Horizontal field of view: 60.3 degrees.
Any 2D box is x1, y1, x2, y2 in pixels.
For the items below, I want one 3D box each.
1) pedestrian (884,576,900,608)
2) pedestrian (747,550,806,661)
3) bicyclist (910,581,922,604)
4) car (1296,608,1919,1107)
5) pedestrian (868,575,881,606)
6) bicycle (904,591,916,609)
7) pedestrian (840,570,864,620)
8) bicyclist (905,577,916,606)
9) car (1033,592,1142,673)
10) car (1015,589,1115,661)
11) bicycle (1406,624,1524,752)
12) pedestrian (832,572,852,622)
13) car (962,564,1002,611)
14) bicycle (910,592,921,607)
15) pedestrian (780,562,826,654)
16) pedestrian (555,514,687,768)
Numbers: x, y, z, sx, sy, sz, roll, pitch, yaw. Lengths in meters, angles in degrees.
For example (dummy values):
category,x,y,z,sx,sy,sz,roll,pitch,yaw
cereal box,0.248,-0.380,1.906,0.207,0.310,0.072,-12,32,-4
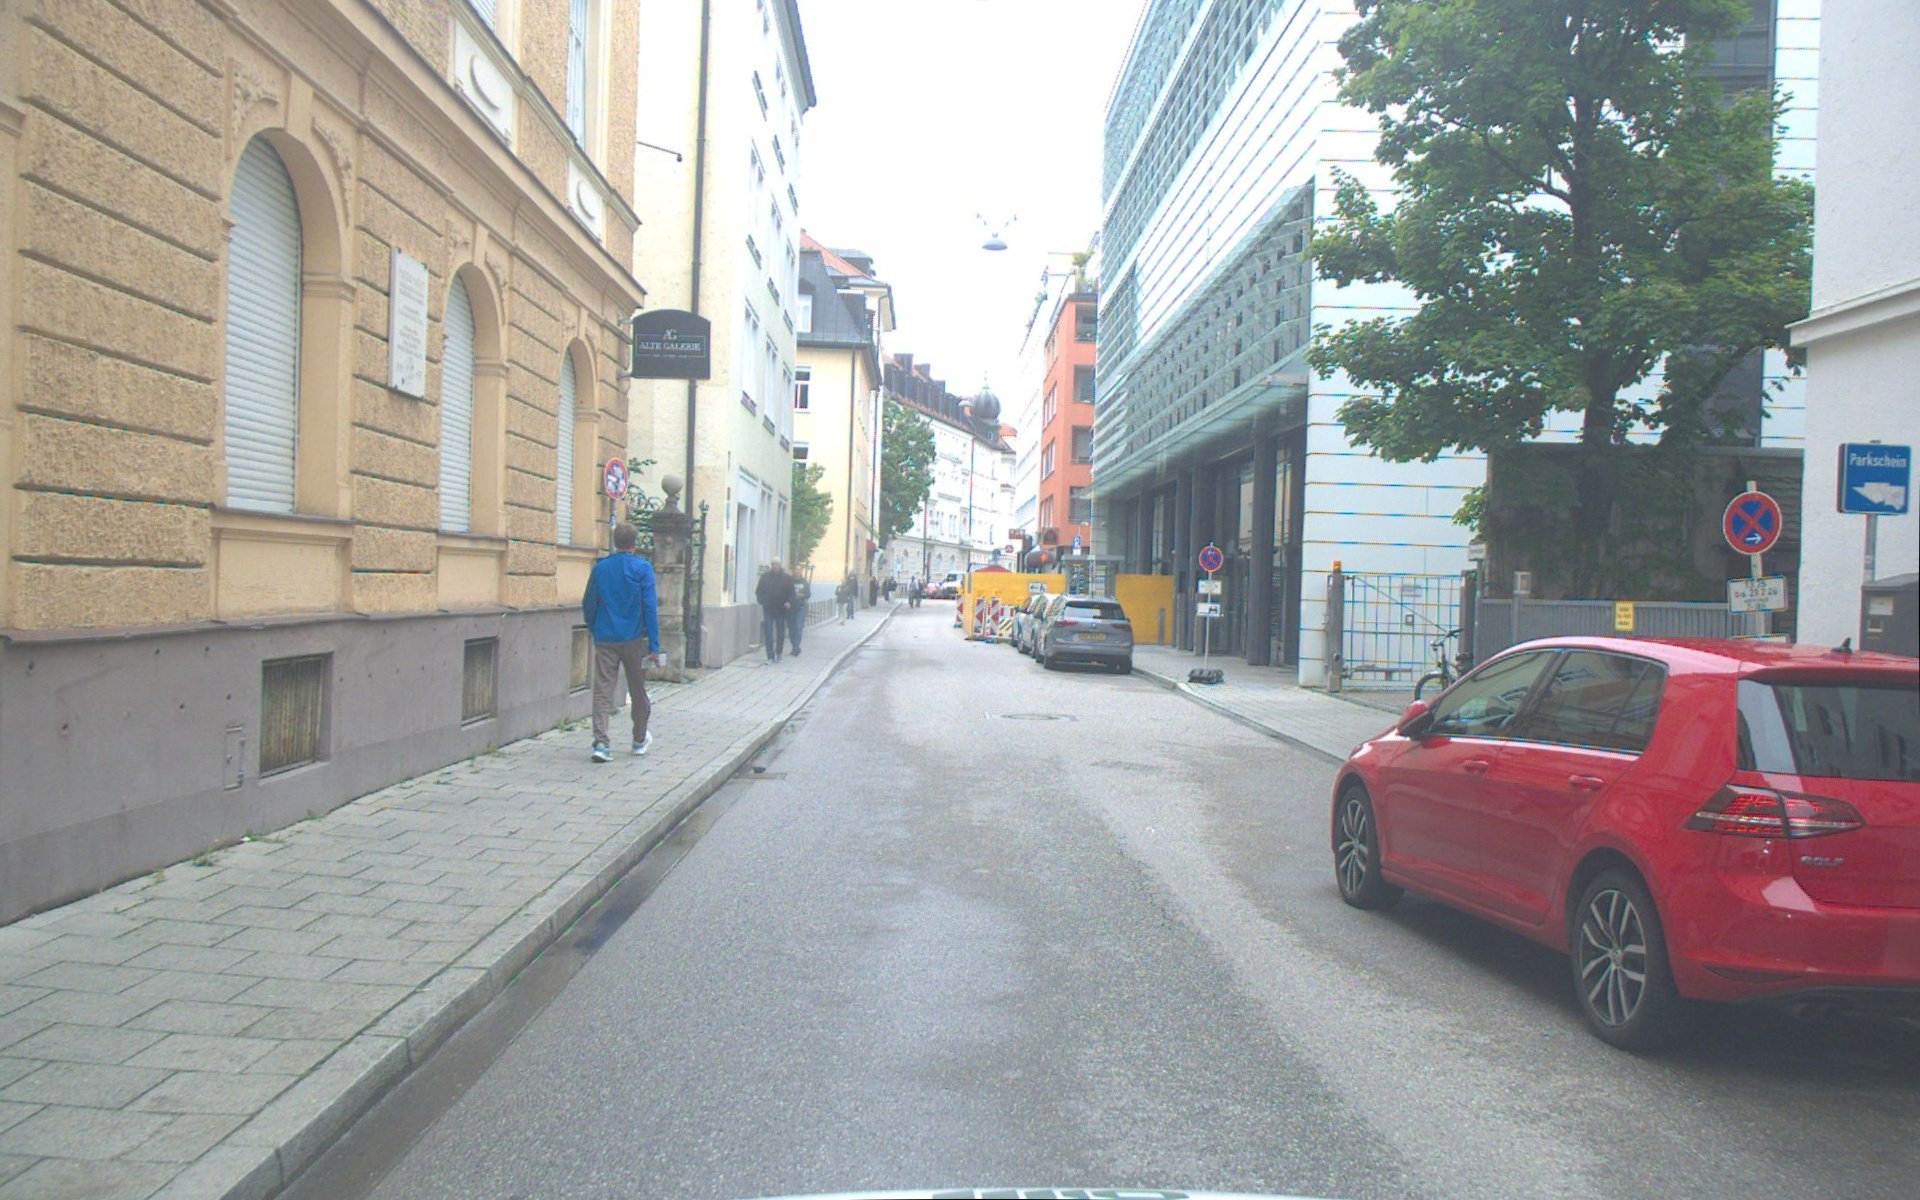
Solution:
category,x,y,z,sx,sy,sz,roll,pitch,yaw
pedestrian,-3.766,-0.450,91.889,0.822,1.730,0.802,3,0,-2
pedestrian,-3.165,0.092,28.609,0.887,1.859,0.955,2,0,-3
bicyclist,-2.688,-0.466,100.656,0.693,1.395,0.813,1,0,-2
car,3.055,0.855,7.381,1.727,1.472,4.292,3,0,-7
pedestrian,-4.742,-0.515,92.068,0.657,1.676,0.761,3,0,-2
bicycle,-2.915,-0.009,96.761,0.648,1.057,2.004,1,0,-2
pedestrian,-4.245,-0.184,64.962,0.850,1.914,1.134,3,0,-3
bicyclist,-2.899,-0.503,96.818,0.646,1.671,0.895,1,0,-2
car,2.501,0.609,33.401,1.673,1.457,4.328,2,0,-2
car,2.395,0.550,38.694,1.674,1.493,4.233,3,0,-5
bicycle,5.611,0.948,18.481,0.693,1.219,1.834,2,3,-1
pedestrian,-4.187,-0.106,58.649,0.634,1.705,0.723,3,0,-3
car,1.261,-0.723,95.952,1.953,2.580,4.973,3,1,-2
bicycle,-2.710,-0.043,100.787,0.693,0.921,1.809,1,0,-2
pedestrian,-2.994,0.148,31.604,0.698,1.694,0.929,4,0,-2
pedestrian,-2.653,0.308,13.050,0.741,1.887,1.076,3,0,-1
